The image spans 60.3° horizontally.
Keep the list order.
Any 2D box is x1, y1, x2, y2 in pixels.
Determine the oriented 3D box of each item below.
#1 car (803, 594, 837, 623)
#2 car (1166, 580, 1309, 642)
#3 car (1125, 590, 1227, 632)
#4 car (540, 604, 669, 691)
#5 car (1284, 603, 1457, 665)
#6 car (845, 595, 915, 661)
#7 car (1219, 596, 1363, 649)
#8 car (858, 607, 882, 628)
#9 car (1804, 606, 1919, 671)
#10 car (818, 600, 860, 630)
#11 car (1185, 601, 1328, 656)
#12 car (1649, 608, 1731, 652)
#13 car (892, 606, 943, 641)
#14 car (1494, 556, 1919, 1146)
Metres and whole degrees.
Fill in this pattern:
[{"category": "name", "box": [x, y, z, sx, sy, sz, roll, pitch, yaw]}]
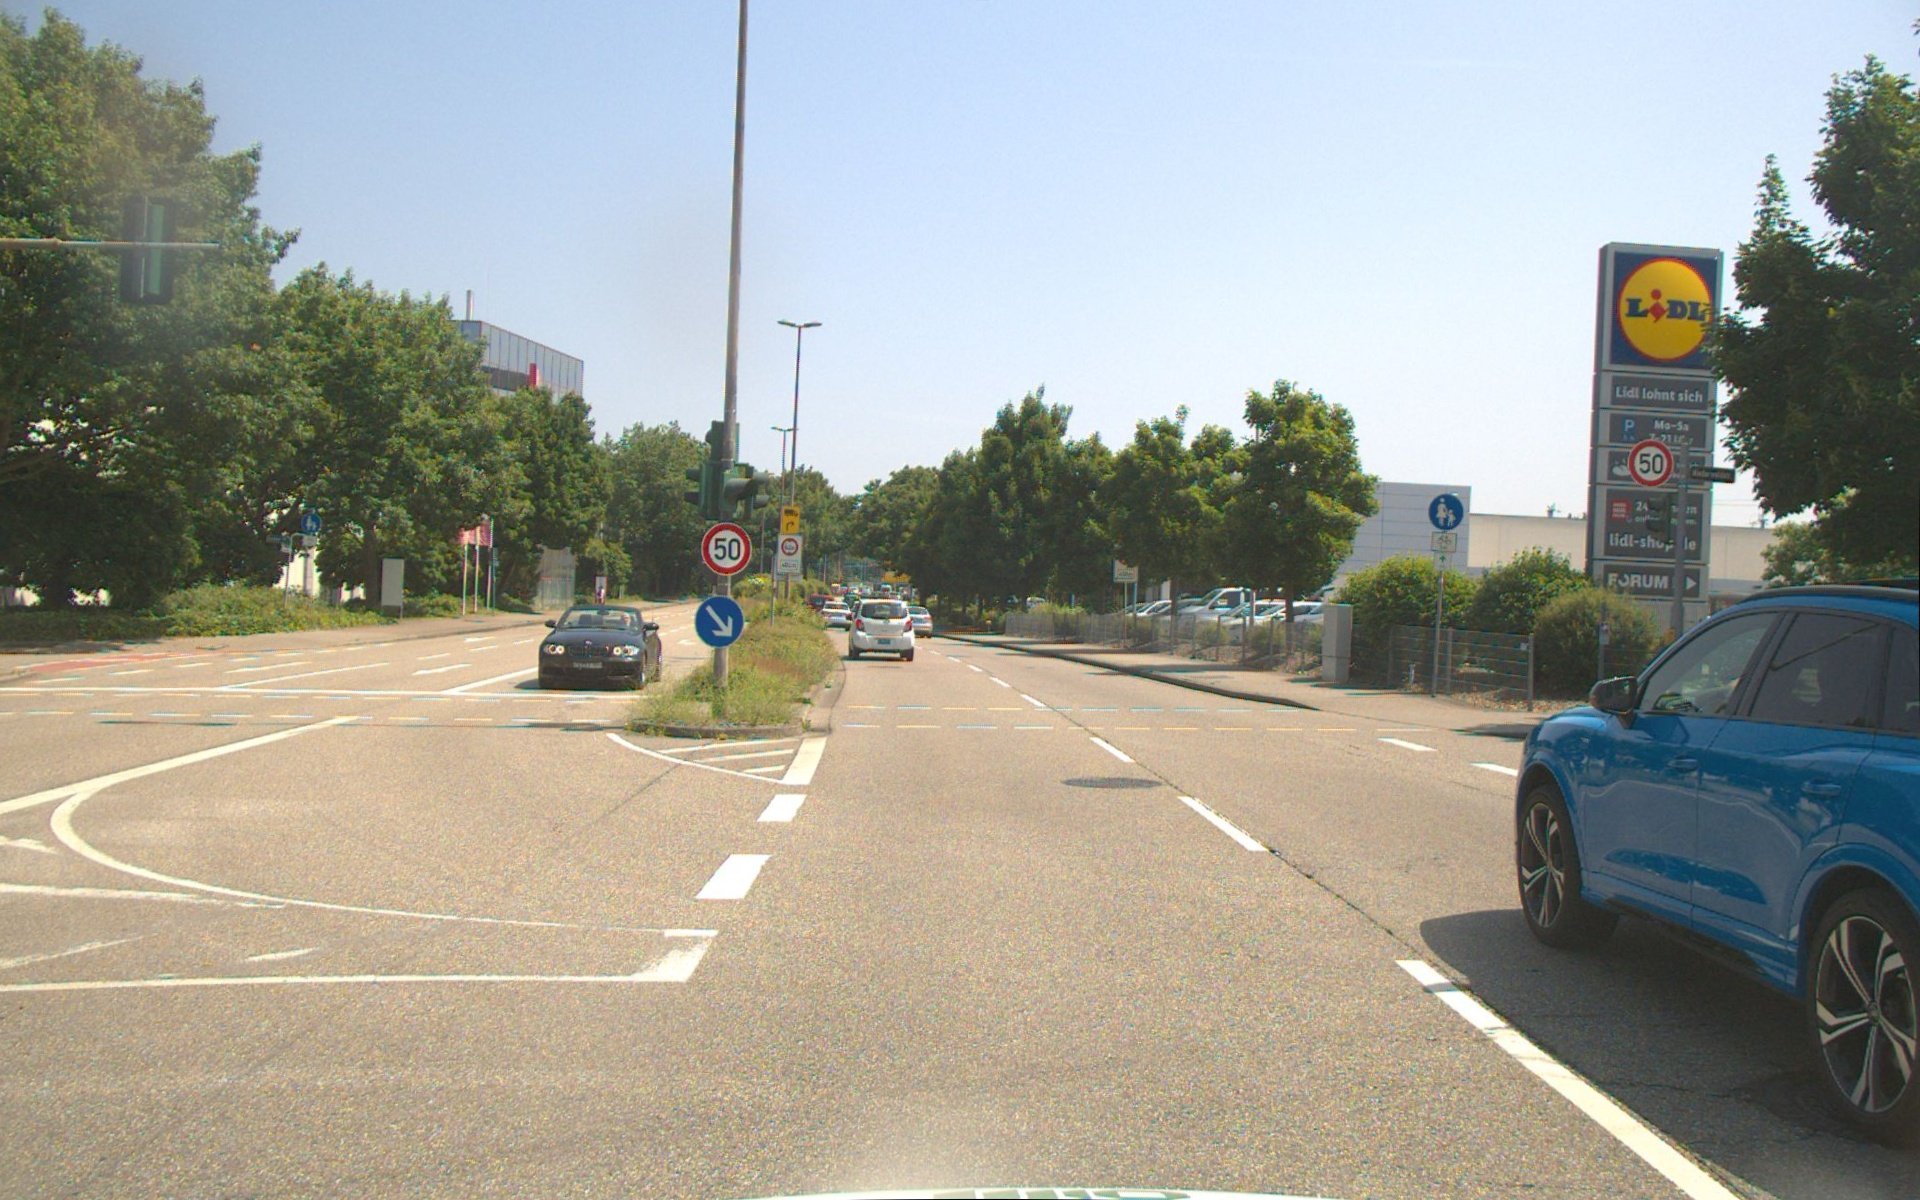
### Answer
[{"category": "car", "box": [-8.312, 0.489, 98.070, 1.849, 1.636, 3.994, 1, 0, -7]}, {"category": "car", "box": [9.574, 0.383, 57.231, 4.527, 1.958, 1.825, 2, 0, -6]}, {"category": "car", "box": [9.217, 0.459, 70.688, 3.914, 1.624, 1.823, 3, 0, -10]}, {"category": "car", "box": [-5.979, 0.757, 28.201, 1.696, 1.347, 4.144, 1, 0, -6]}, {"category": "car", "box": [10.809, 0.889, 43.671, 4.088, 1.446, 1.696, 2, 0, -4]}, {"category": "car", "box": [-2.127, 0.715, 43.288, 1.607, 1.579, 3.321, 3, 0, -5]}, {"category": "car", "box": [9.970, 0.671, 49.945, 3.919, 1.446, 1.695, 2, 0, -6]}, {"category": "car", "box": [-6.054, 1.154, 110.929, 1.414, 1.372, 3.455, 1, 0, -7]}, {"category": "car", "box": [21.591, 0.881, 38.353, 1.701, 1.418, 4.075, 1, -1, -6]}, {"category": "car", "box": [-6.129, 0.725, 83.394, 1.849, 1.377, 3.993, 3, 0, -8]}, {"category": "car", "box": [9.683, 0.927, 54.250, 4.280, 1.620, 1.825, 2, 0, -4]}, {"category": "car", "box": [25.010, 0.997, 56.742, 1.240, 1.445, 2.953, 0, 0, -7]}, {"category": "car", "box": [-1.993, 1.067, 76.509, 1.831, 1.498, 3.992, 3, 0, -9]}, {"category": "car", "box": [3.533, 0.691, 6.051, 1.771, 1.620, 4.349, 0, 0, 0]}]
